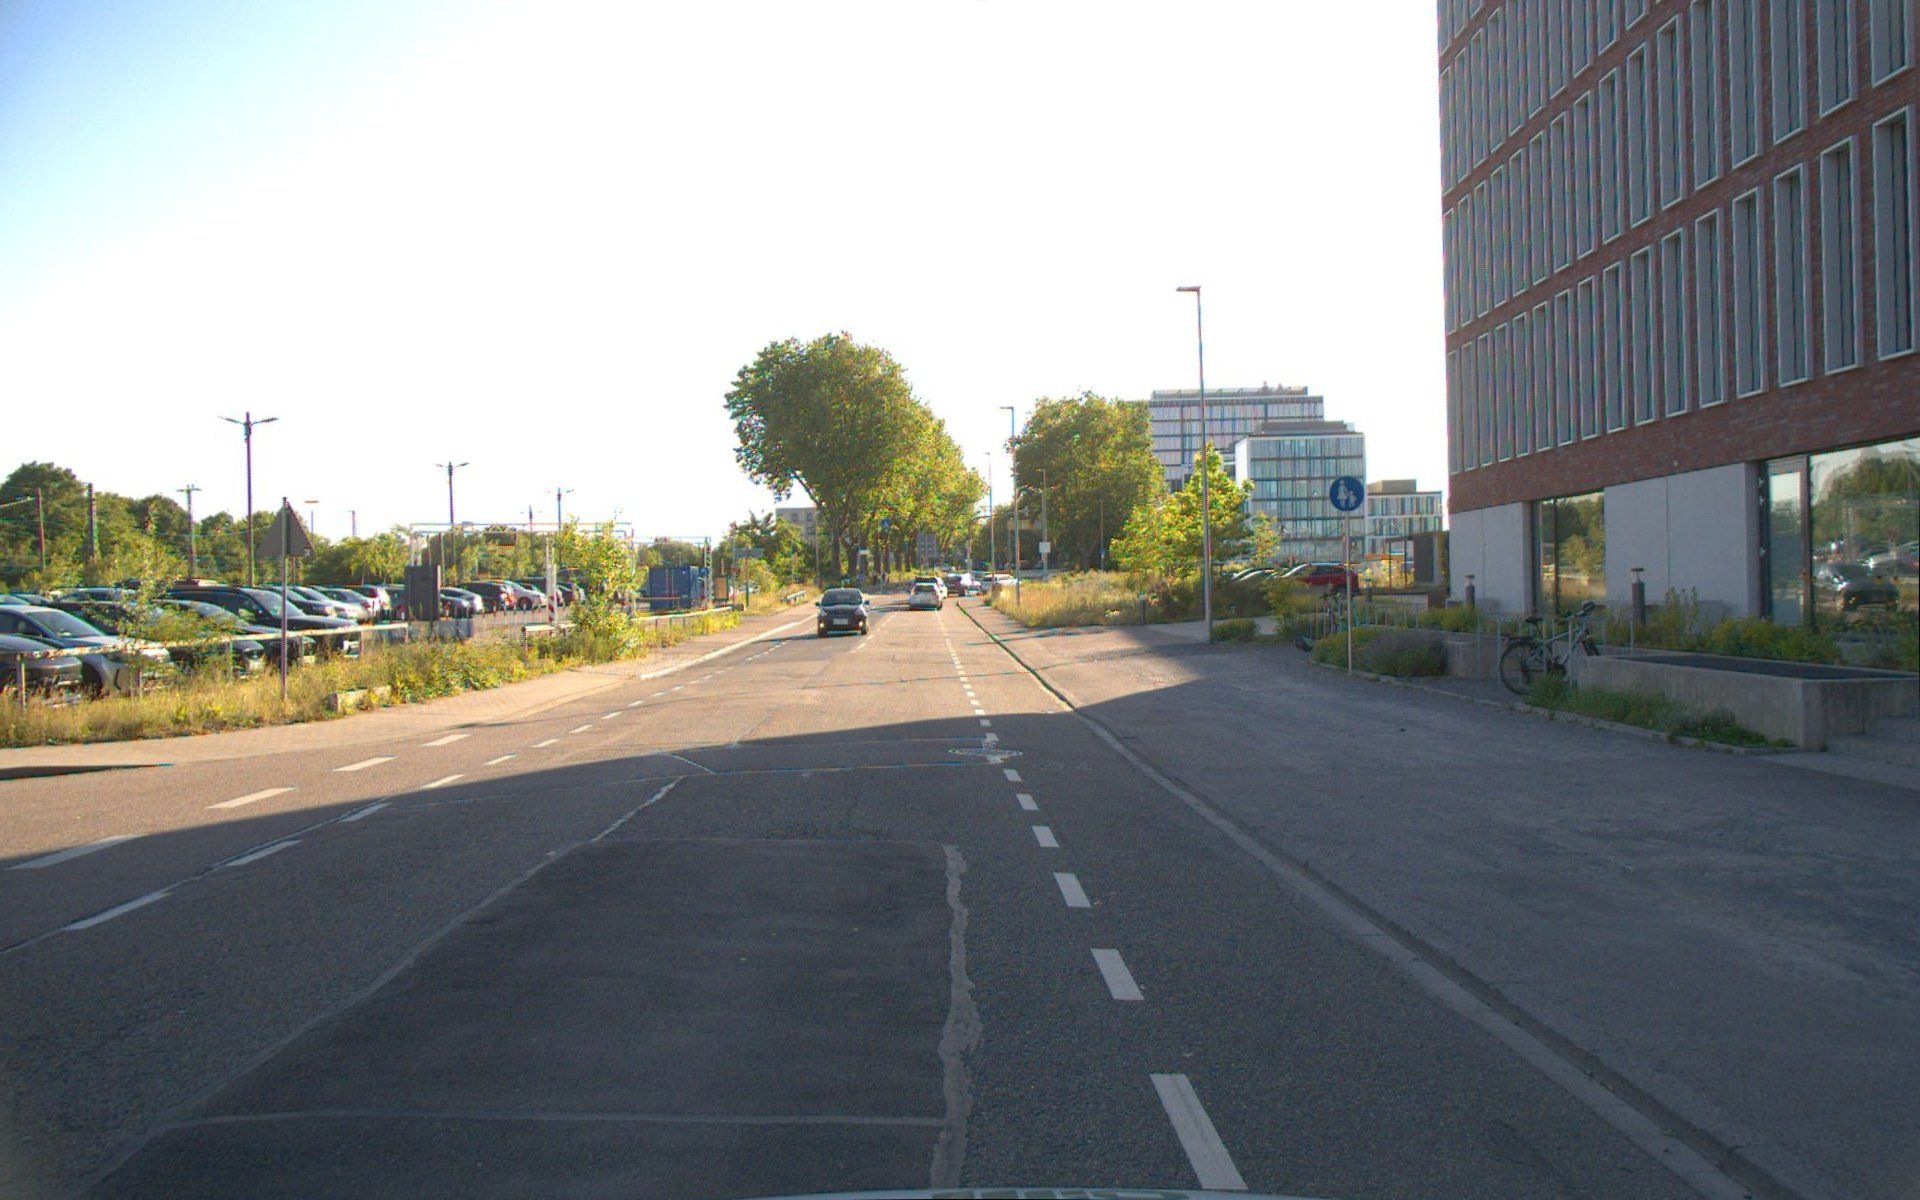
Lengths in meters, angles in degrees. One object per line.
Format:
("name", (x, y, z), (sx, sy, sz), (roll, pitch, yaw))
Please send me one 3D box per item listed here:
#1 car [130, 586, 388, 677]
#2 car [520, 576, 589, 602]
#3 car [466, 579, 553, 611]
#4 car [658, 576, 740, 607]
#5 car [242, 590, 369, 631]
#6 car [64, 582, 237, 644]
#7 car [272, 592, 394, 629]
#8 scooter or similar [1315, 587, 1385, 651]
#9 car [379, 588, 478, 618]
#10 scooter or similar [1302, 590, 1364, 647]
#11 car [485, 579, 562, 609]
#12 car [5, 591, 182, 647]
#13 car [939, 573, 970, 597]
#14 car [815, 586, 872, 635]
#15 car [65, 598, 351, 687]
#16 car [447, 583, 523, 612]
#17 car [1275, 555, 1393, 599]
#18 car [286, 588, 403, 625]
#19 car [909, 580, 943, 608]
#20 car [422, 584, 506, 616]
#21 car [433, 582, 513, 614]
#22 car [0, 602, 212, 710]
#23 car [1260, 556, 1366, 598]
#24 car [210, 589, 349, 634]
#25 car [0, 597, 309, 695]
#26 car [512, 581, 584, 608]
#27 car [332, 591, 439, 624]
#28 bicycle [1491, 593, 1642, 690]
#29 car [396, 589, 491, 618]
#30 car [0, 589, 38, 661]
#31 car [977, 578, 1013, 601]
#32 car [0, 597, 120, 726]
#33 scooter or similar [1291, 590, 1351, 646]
("car", (-14.209, 0.616, 33.699), (4.338, 1.699, 2.048), (-1, 0, 0))
("car", (-26.969, -0.718, 110.120), (4.122, 1.646, 1.878), (-1, 1, -2))
("car", (-26.303, -0.316, 96.655), (4.484, 1.771, 2.059), (-1, 1, 2))
("car", (-16.113, -0.526, 102.219), (4.748, 1.867, 1.999), (-1, 1, -2))
("car", (-25.800, 0.406, 65.308), (4.233, 1.550, 1.878), (-1, 1, -1))
("car", (-25.391, 0.395, 52.005), (4.483, 1.836, 1.857), (-1, 1, -1))
("car", (-25.711, 0.430, 67.902), (4.233, 1.417, 1.878), (-1, 1, -1))
("scooter or similar", (7.941, 0.383, 33.704), (1.312, 1.267, 0.424), (-2, 0, 3))
("car", (-26.064, 0.148, 81.184), (4.234, 1.400, 1.878), (-1, 1, -2))
("scooter or similar", (7.950, 0.389, 35.262), (1.217, 1.176, 0.366), (-2, 0, 3))
("car", (-26.981, -0.383, 102.338), (4.234, 1.823, 1.878), (-1, 1, -2))
("car", (-25.939, 0.543, 49.611), (4.278, 1.572, 1.857), (-1, 1, -1))
("car", (-0.363, -1.075, 120.040), (2.119, 1.713, 4.001), (-1, 0, 2))
("car", (-3.916, 0.330, 56.016), (1.620, 1.529, 3.999), (-2, 0, -1))
("car", (-13.882, 0.765, 30.734), (4.338, 1.487, 2.048), (-1, 0, 0))
("car", (-26.913, -0.135, 93.781), (3.804, 1.546, 1.878), (-1, 1, -2))
("car", (14.190, -0.872, 62.902), (4.097, 1.608, 1.852), (-1, 1, 2))
("car", (-26.195, 0.263, 70.466), (4.233, 1.488, 1.878), (-1, 1, -1))
("car", (-1.859, -0.363, 90.821), (1.753, 1.445, 4.000), (-1, 1, 0))
("car", (-26.001, -0.018, 86.782), (3.804, 1.631, 1.878), (-1, 1, -2))
("car", (-26.299, -0.105, 89.396), (3.804, 1.631, 1.878), (-1, 1, -2))
("car", (-13.916, 0.837, 24.903), (4.338, 1.487, 2.048), (-1, 0, 0))
("car", (14.898, -0.970, 69.898), (4.097, 1.608, 1.852), (-1, -2, 2))
("car", (-25.831, 0.416, 62.899), (4.483, 1.612, 1.857), (-1, 1, -1))
("car", (-13.683, 0.751, 28.149), (4.338, 1.487, 2.048), (-1, 0, 0))
("car", (-26.775, -0.361, 107.605), (4.234, 1.646, 1.878), (-1, 1, -2))
("car", (-26.285, 0.324, 75.798), (4.234, 1.444, 1.878), (-1, 1, -2))
("bicycle", (8.091, 0.545, 22.060), (1.895, 1.190, 0.374), (-3, 0, -8))
("car", (-26.205, 0.162, 83.976), (4.234, 1.400, 1.878), (-1, 1, -2))
("car", (-24.881, 0.632, 39.935), (4.078, 1.691, 1.965), (-1, 0, -4))
("car", (2.657, -0.799, 125.506), (2.117, 1.713, 4.003), (-1, 0, 10))
("car", (-13.882, 0.824, 21.998), (4.338, 1.608, 2.048), (-1, 0, 0))
("scooter or similar", (8.017, 0.396, 36.735), (1.217, 1.216, 0.340), (-2, 0, 3))
